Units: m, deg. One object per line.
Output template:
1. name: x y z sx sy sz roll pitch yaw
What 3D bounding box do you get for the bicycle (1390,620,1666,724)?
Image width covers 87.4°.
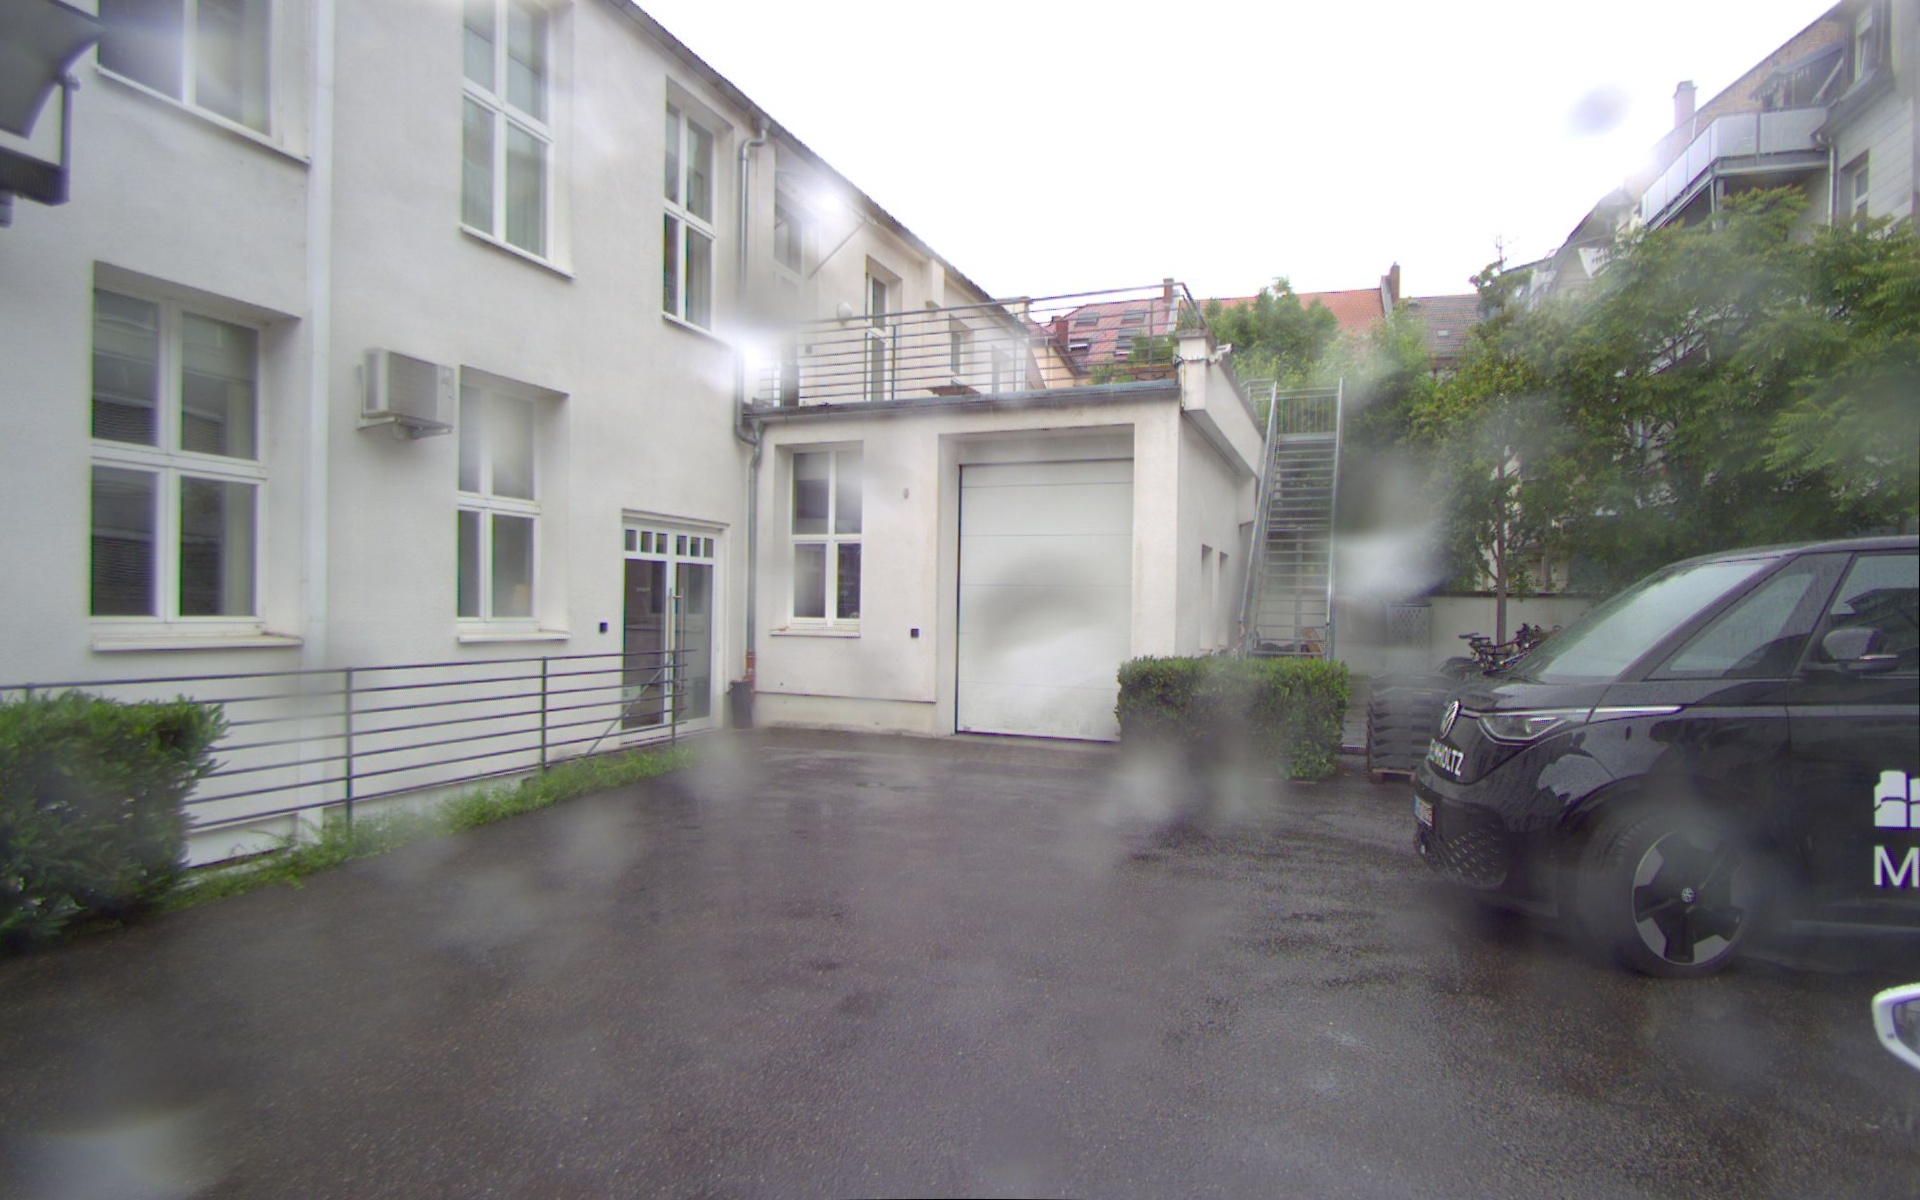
1. bicycle: 7.515 0.926 13.485 3.161 1.258 0.631 1 -1 19

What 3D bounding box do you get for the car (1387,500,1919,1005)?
1. car: 4.546 0.610 4.670 4.431 1.922 2.048 1 -1 14

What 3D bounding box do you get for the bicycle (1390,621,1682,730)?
1. bicycle: 7.248 0.925 12.838 3.161 1.258 0.631 1 -1 19

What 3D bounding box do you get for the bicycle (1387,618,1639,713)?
1. bicycle: 8.003 0.926 14.718 3.161 1.258 0.631 1 -1 19

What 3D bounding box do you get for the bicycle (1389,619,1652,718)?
1. bicycle: 7.765 0.926 14.110 3.161 1.258 0.631 1 -1 19
